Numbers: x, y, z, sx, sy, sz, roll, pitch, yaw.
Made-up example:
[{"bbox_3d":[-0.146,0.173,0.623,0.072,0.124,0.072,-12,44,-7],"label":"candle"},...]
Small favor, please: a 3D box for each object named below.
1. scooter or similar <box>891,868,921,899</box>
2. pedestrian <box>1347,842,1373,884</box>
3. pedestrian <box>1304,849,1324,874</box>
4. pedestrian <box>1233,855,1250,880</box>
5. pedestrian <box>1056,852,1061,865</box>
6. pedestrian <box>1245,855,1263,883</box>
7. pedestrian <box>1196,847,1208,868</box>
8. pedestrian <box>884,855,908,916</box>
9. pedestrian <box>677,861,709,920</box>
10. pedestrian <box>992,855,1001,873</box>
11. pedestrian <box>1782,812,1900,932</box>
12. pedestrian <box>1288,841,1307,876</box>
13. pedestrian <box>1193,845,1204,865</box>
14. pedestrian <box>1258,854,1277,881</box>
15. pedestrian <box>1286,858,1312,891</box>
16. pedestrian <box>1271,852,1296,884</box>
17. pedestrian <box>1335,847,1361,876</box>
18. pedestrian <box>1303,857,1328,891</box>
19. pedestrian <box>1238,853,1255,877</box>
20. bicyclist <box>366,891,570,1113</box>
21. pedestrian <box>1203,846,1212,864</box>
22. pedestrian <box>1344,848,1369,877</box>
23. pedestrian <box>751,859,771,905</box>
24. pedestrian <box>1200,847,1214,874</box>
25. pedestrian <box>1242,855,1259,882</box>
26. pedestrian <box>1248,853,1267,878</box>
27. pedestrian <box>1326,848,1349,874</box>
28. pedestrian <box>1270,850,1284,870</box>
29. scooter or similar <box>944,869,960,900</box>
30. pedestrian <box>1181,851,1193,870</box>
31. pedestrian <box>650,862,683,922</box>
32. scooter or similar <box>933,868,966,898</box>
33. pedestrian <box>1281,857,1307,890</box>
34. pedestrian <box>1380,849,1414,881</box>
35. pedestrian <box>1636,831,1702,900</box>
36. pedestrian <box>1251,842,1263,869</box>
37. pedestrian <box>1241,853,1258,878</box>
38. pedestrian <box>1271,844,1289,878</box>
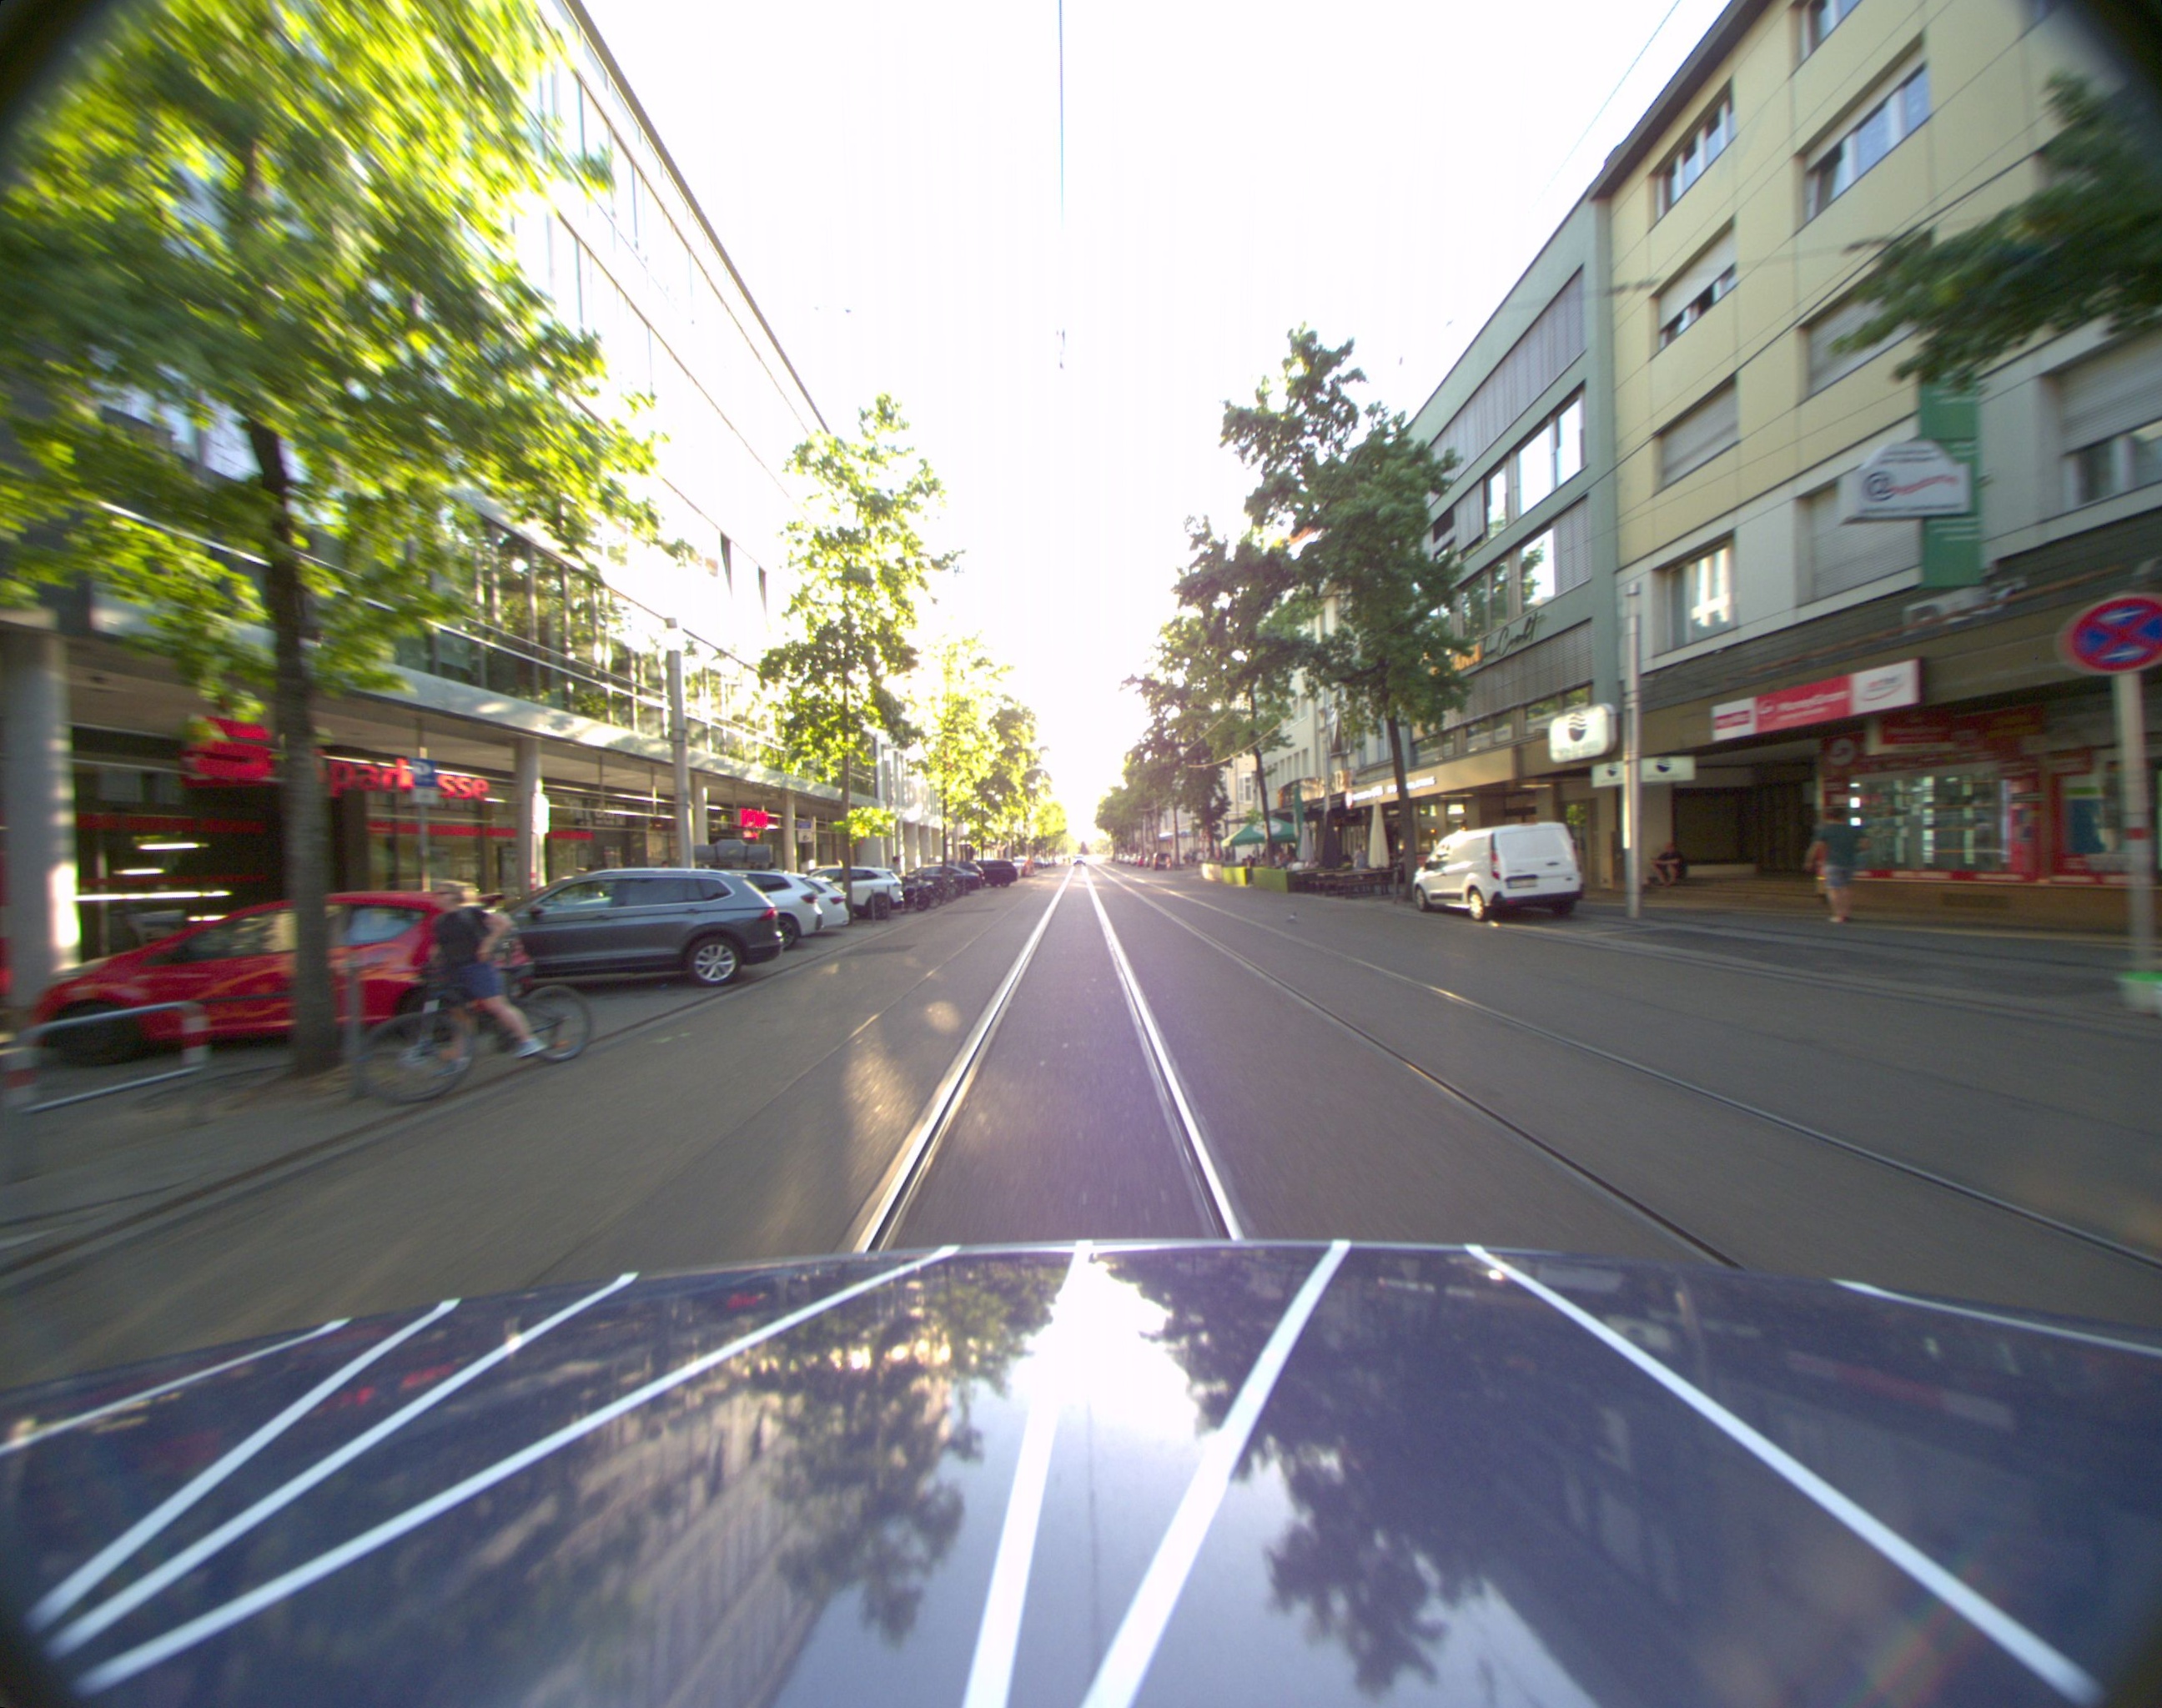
[{"bbox_3d":[-7.709,1.267,33.365,0.633,1.285,1.676,0,0,-37],"label":"scooter or similar"},{"bbox_3d":[10.787,0.336,29.368,0.649,1.565,0.700,-5,1,0],"label":"pedestrian"},{"bbox_3d":[11.902,0.364,38.844,0.671,1.235,0.798,-4,1,-1],"label":"pedestrian"},{"bbox_3d":[8.517,0.715,40.313,0.709,1.252,0.772,-4,1,2],"label":"pedestrian"},{"bbox_3d":[-3.435,0.663,114.943,0.705,1.858,0.792,-2,1,-2],"label":"pedestrian"},{"bbox_3d":[8.236,0.703,36.192,0.620,1.238,0.697,-5,1,-1],"label":"pedestrian"},{"bbox_3d":[10.457,0.297,65.475,0.776,1.782,0.984,-4,1,1],"label":"pedestrian"},{"bbox_3d":[-5.896,1.005,24.209,0.584,1.907,0.663,0,1,2],"label":"pedestrian"},{"bbox_3d":[-11.658,1.075,22.848,0.626,1.733,0.599,-1,1,-2],"label":"pedestrian"},{"bbox_3d":[-9.179,1.078,82.859,0.835,1.886,0.918,-1,1,3],"label":"pedestrian"},{"bbox_3d":[11.347,0.261,11.379,0.668,1.676,1.005,-4,1,0],"label":"pedestrian"},{"bbox_3d":[10.962,0.226,38.568,0.679,1.746,0.697,-4,1,1],"label":"pedestrian"},{"bbox_3d":[11.322,0.103,73.156,0.721,1.802,0.876,-5,1,0],"label":"pedestrian"},{"bbox_3d":[8.959,0.652,36.453,0.620,1.238,0.697,-5,1,-1],"label":"pedestrian"},{"bbox_3d":[8.393,0.776,29.257,0.658,1.186,0.798,-5,1,-1],"label":"pedestrian"},{"bbox_3d":[8.795,0.597,33.009,0.756,1.335,0.872,-5,1,-1],"label":"pedestrian"},{"bbox_3d":[12.389,0.345,35.318,0.779,1.230,0.945,-5,1,-1],"label":"pedestrian"},{"bbox_3d":[9.247,0.783,29.963,0.658,1.286,0.798,-5,1,-1],"label":"pedestrian"},{"bbox_3d":[9.251,0.596,42.438,0.691,1.304,0.807,-4,1,1],"label":"pedestrian"},{"bbox_3d":[-4.954,1.149,6.200,0.778,1.603,0.913,-4,0,14],"label":"bicyclist"},{"bbox_3d":[12.178,0.100,73.042,0.709,1.646,0.967,-2,0,2],"label":"pedestrian"},{"bbox_3d":[12.166,0.384,33.544,0.738,1.207,0.788,-5,1,-1],"label":"pedestrian"},{"bbox_3d":[-12.389,1.076,29.403,0.558,1.740,0.525,0,1,0],"label":"pedestrian"},{"bbox_3d":[8.610,0.421,52.010,0.759,1.781,0.686,-4,1,0],"label":"pedestrian"},{"bbox_3d":[8.332,0.705,37.357,0.620,1.238,0.697,-5,1,-1],"label":"pedestrian"},{"bbox_3d":[9.348,0.589,40.263,0.709,1.252,0.869,-4,1,2],"label":"pedestrian"},{"bbox_3d":[12.396,0.338,36.772,0.738,1.224,0.788,-5,1,-1],"label":"pedestrian"},{"bbox_3d":[12.716,0.387,49.289,0.646,1.262,0.738,-4,1,1],"label":"pedestrian"},{"bbox_3d":[-5.565,1.289,32.784,0.452,1.269,1.306,2,1,-1],"label":"scooter or similar"},{"bbox_3d":[10.205,0.657,73.226,0.867,1.771,0.884,-5,1,0],"label":"pedestrian"},{"bbox_3d":[-12.243,1.102,22.452,0.626,1.733,0.599,-1,1,0],"label":"pedestrian"},{"bbox_3d":[-5.840,1.287,33.741,1.309,1.269,0.563,1,1,-31],"label":"scooter or similar"},{"bbox_3d":[8.413,0.771,30.065,0.658,1.237,0.872,-5,1,-1],"label":"pedestrian"},{"bbox_3d":[12.290,0.414,29.577,0.755,1.181,1.065,-5,1,-1],"label":"pedestrian"},{"bbox_3d":[13.092,0.250,16.943,0.771,1.458,0.765,-5,1,-2],"label":"pedestrian"},{"bbox_3d":[11.938,0.107,51.480,0.685,1.805,0.765,-4,1,15],"label":"pedestrian"},{"bbox_3d":[9.219,0.625,41.562,0.709,1.339,0.781,-4,1,2],"label":"pedestrian"},{"bbox_3d":[10.031,0.345,38.347,0.620,1.661,0.697,-4,1,-1],"label":"pedestrian"}]
